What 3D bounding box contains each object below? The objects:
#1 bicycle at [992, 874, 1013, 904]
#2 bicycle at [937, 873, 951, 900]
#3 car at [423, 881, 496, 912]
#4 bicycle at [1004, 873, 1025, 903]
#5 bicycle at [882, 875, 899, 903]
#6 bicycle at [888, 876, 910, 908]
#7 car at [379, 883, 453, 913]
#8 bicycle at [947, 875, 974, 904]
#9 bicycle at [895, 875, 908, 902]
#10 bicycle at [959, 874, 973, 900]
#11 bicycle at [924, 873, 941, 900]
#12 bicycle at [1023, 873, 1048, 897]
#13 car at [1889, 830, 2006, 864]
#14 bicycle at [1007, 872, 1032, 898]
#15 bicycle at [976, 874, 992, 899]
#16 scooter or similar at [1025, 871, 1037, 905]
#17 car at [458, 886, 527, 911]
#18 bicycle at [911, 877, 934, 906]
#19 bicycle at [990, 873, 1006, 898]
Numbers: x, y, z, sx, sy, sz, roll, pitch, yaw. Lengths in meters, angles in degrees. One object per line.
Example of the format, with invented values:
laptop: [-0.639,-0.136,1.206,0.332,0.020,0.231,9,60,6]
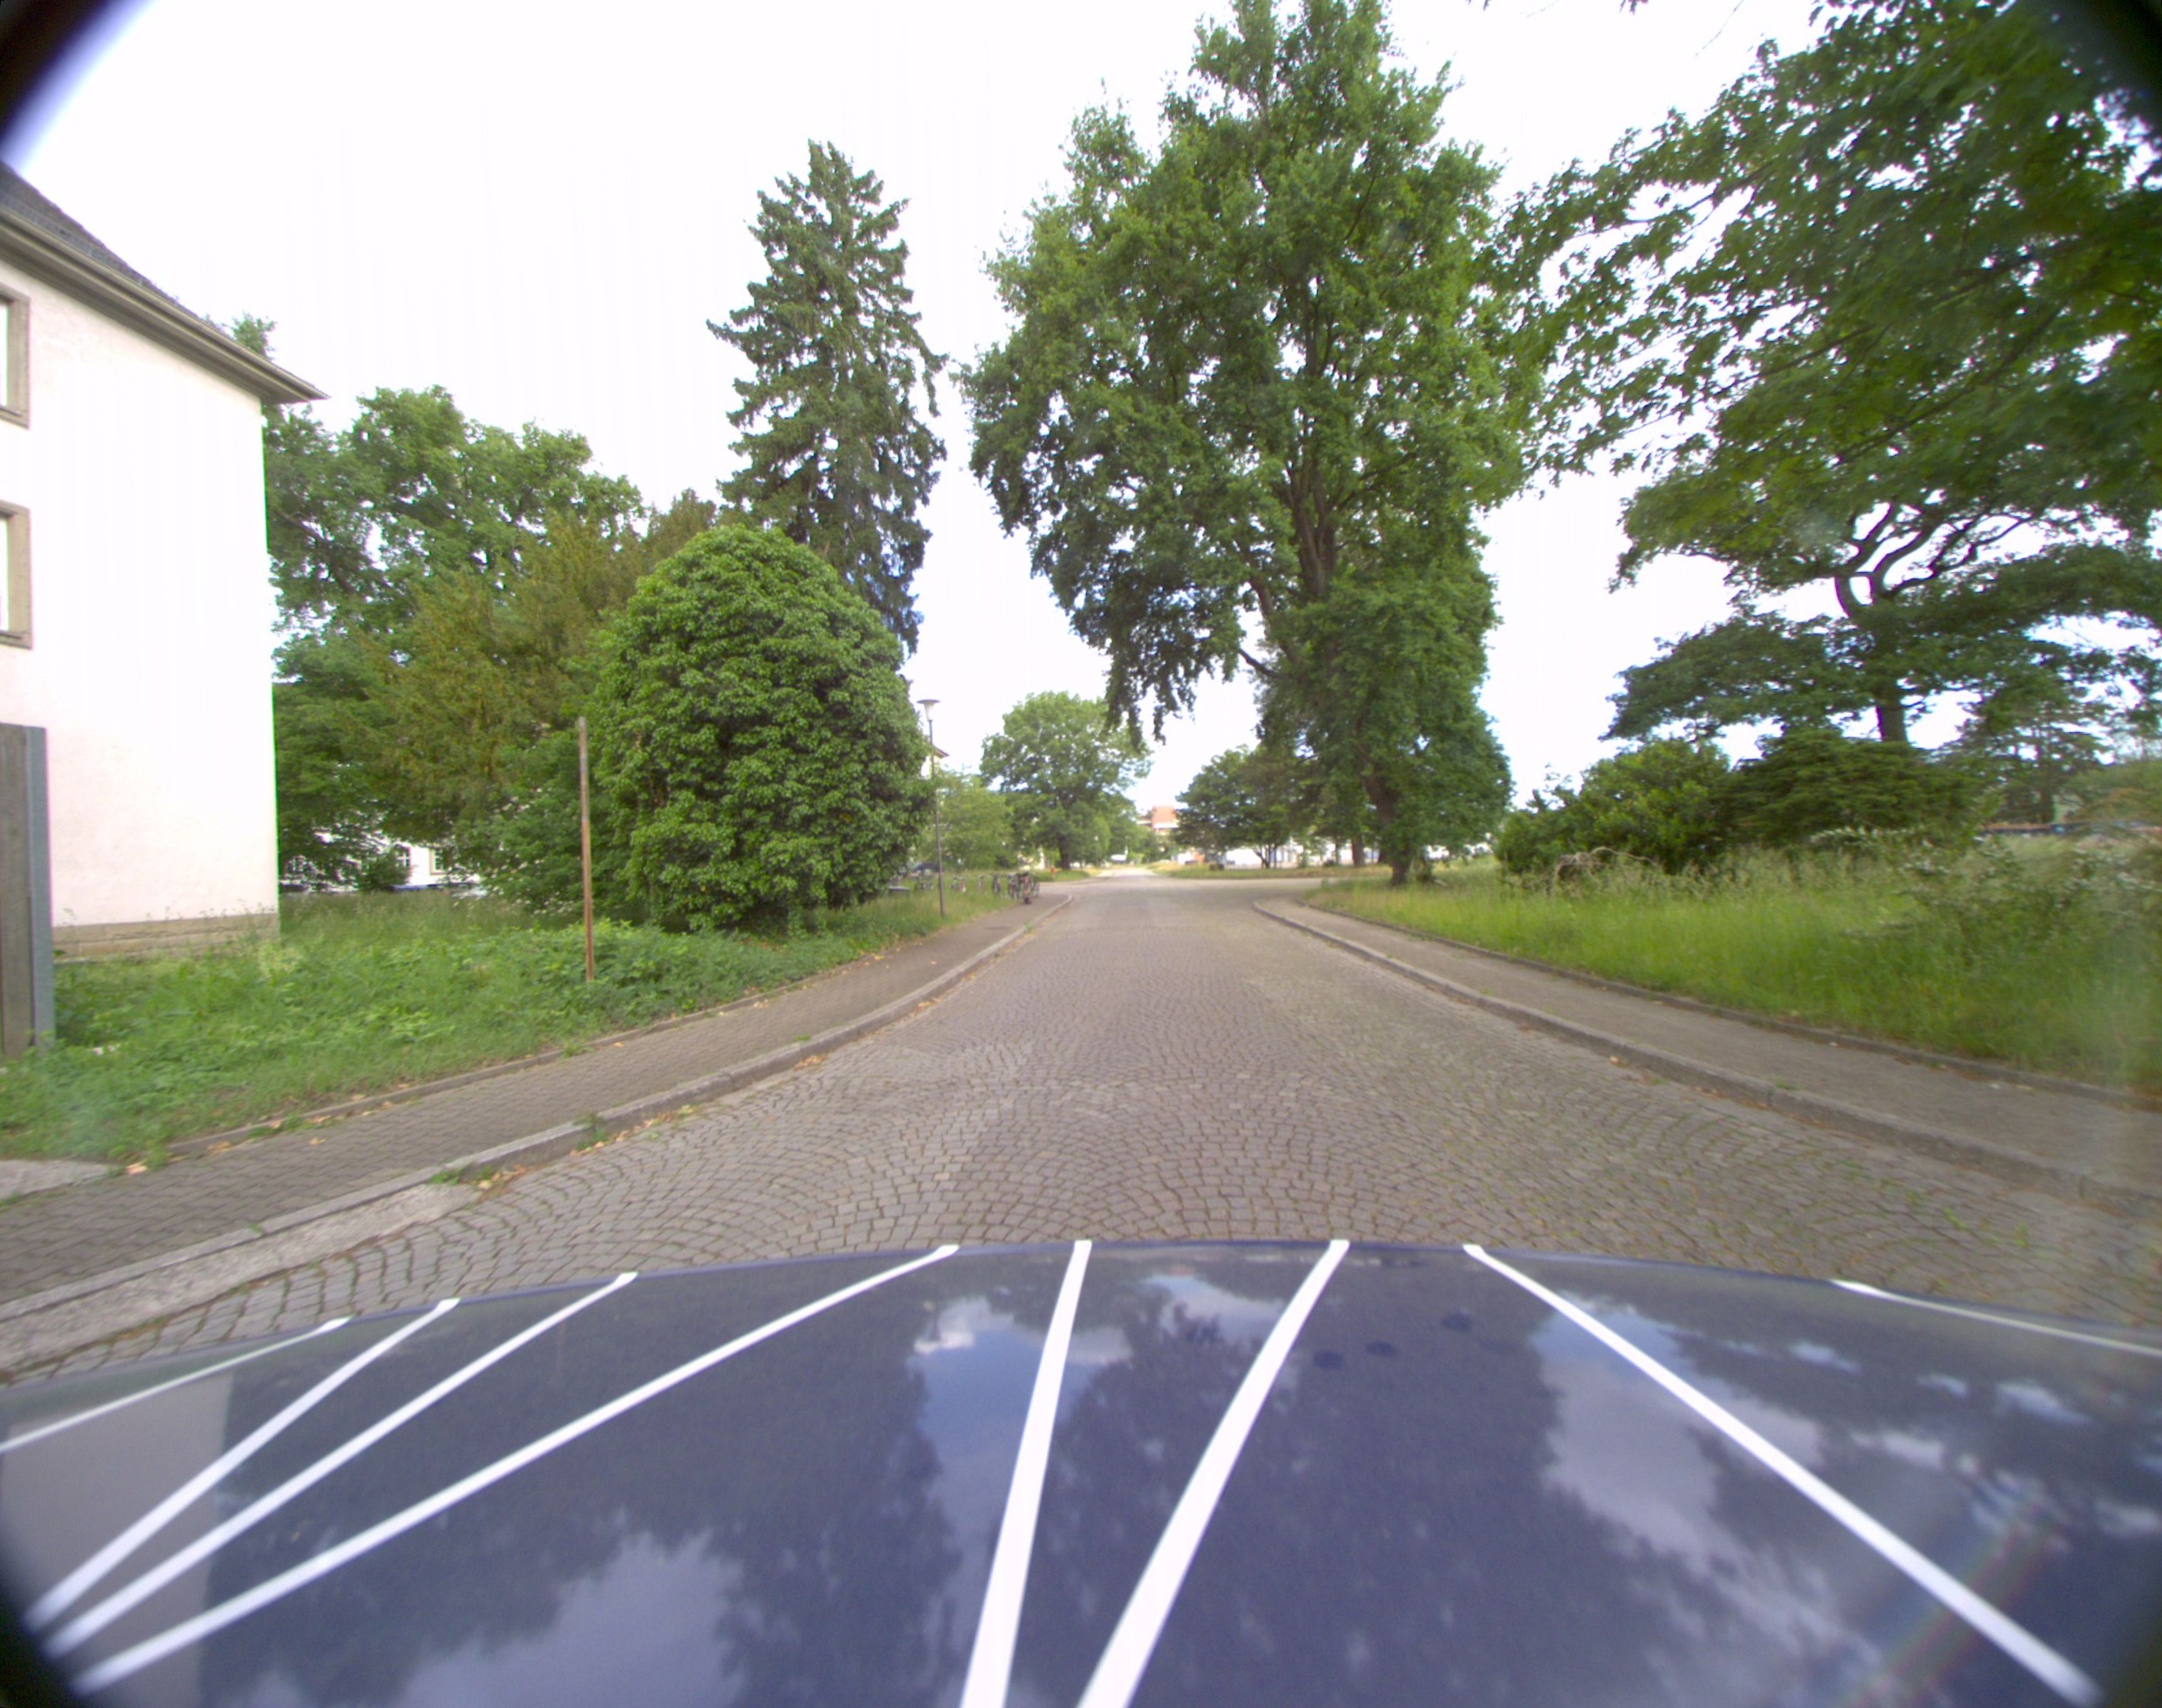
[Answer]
bicycle: [-3.109,1.361,29.899,0.552,1.108,1.803,-2,0,-14]
bicycle: [-5.937,1.383,32.963,0.478,1.105,1.763,-2,0,-12]
car: [-36.256,2.453,44.421,1.438,1.651,3.250,-2,0,3]
bicycle: [-2.645,1.344,30.076,0.552,1.108,1.768,-2,0,-14]
bicycle: [-8.142,1.477,32.485,0.442,1.105,1.651,-2,0,-7]
bicycle: [-7.149,1.474,29.906,0.551,1.164,1.753,-2,0,-4]
car: [-39.456,2.611,45.149,1.383,1.555,3.250,-2,0,3]
bicycle: [-4.724,1.377,29.637,0.619,1.059,1.822,-2,0,-22]
bicycle: [-7.732,1.456,32.691,0.478,1.105,1.763,-2,0,-12]
bicycle: [-5.048,1.437,33.381,0.478,1.002,1.665,-3,1,-12]
bicycle: [-6.467,1.408,33.039,0.478,1.105,1.763,-2,0,-18]
bicycle: [-2.044,1.379,33.883,0.478,1.002,1.619,-3,1,-27]
car: [41.528,-0.298,36.533,1.601,1.473,3.501,-2,-2,3]
bicycle: [-2.751,1.359,33.953,0.478,1.068,1.619,-3,2,-27]
bicycle: [-4.273,1.404,33.417,0.478,1.002,1.665,-3,1,-12]
scooter or similar: [-1.890,1.277,28.792,0.357,1.202,1.137,-2,0,0]
car: [-33.985,2.567,43.939,1.296,1.210,3.250,-2,0,3]
bicycle: [-6.108,1.429,29.211,0.552,1.059,1.751,-2,0,-22]
bicycle: [-3.655,1.378,33.488,0.478,1.002,1.665,-3,1,-12]
